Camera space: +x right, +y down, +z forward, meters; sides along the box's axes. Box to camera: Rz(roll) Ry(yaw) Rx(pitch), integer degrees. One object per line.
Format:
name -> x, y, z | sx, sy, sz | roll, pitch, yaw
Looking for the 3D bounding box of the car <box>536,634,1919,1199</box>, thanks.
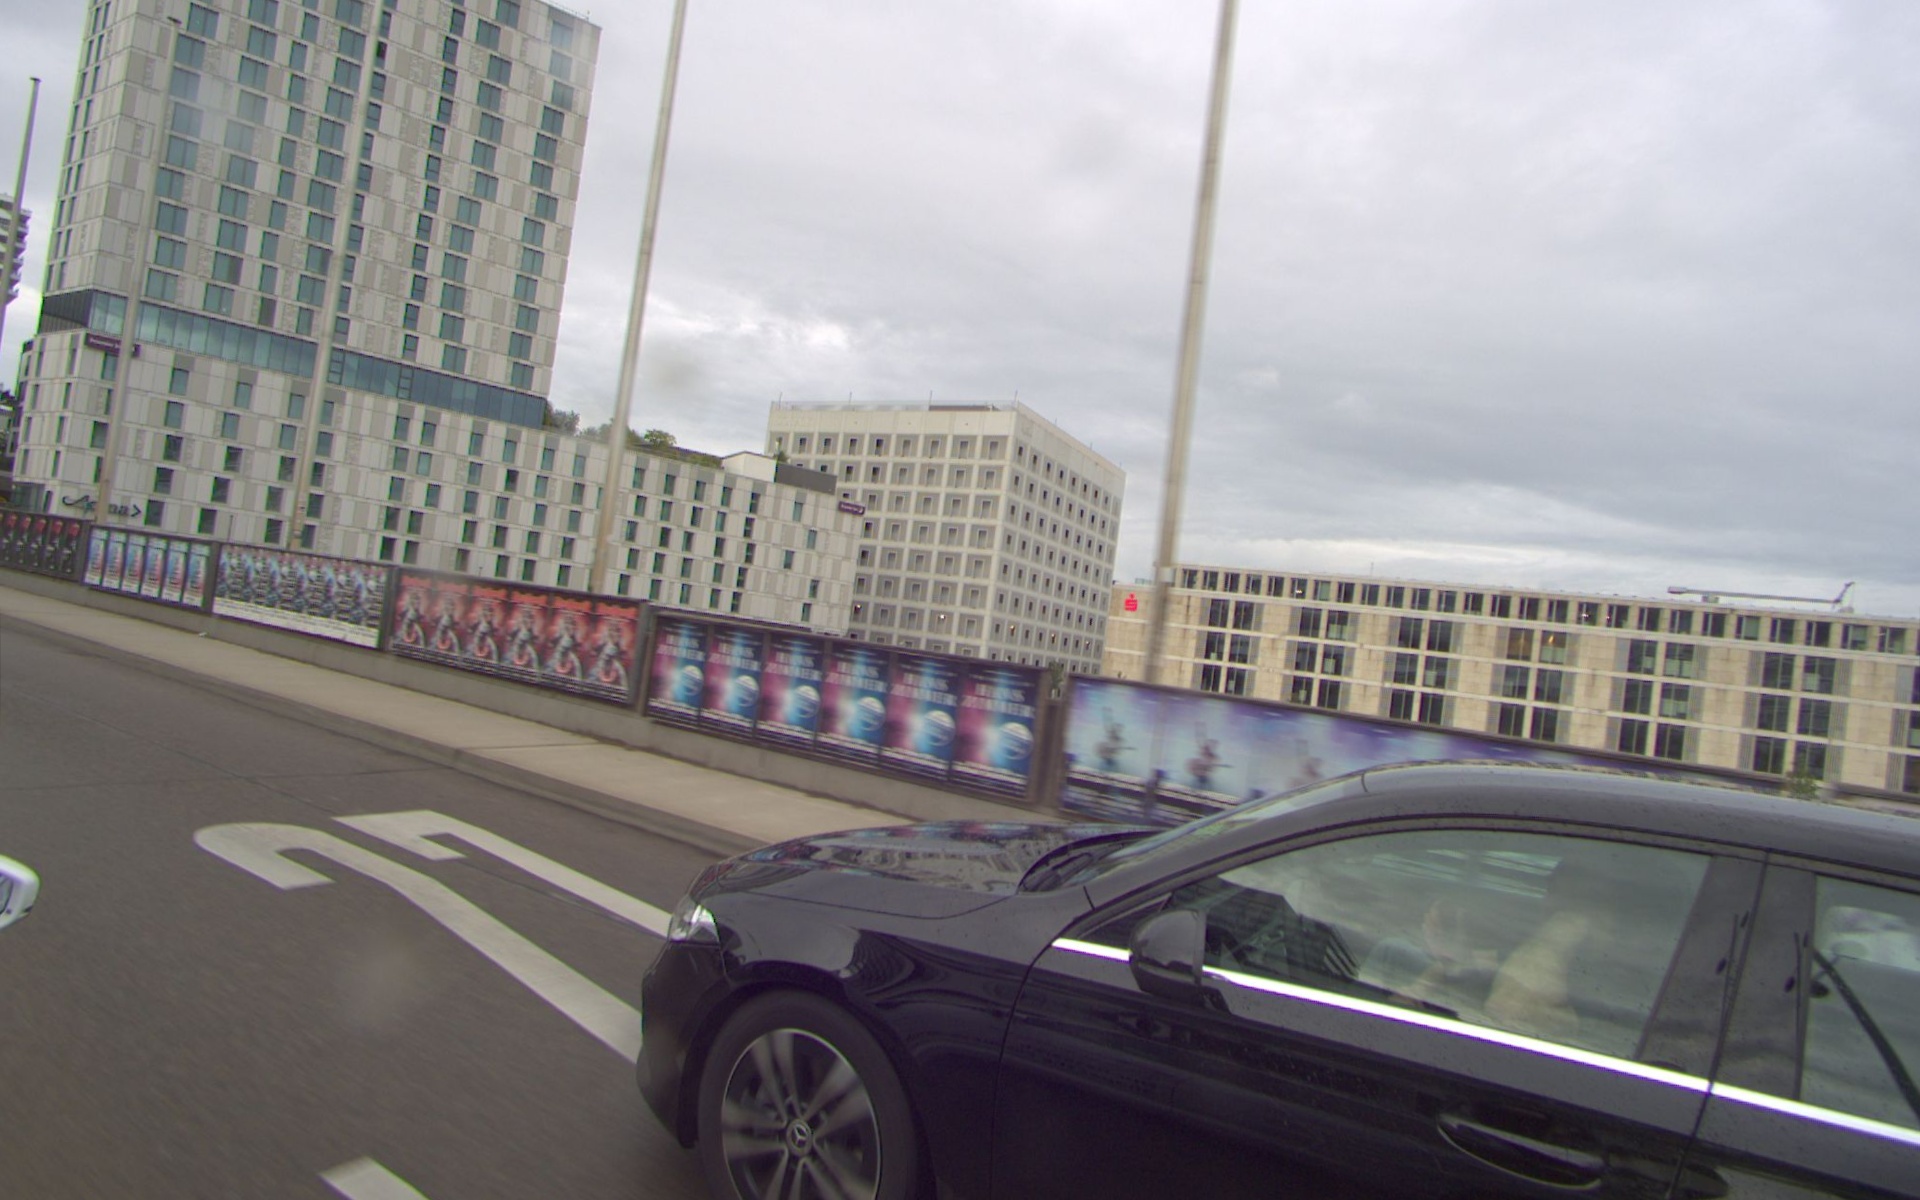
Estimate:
car -> 1.180, 1.027, 2.285 | 4.085, 1.392, 1.727 | 5, -2, 30
